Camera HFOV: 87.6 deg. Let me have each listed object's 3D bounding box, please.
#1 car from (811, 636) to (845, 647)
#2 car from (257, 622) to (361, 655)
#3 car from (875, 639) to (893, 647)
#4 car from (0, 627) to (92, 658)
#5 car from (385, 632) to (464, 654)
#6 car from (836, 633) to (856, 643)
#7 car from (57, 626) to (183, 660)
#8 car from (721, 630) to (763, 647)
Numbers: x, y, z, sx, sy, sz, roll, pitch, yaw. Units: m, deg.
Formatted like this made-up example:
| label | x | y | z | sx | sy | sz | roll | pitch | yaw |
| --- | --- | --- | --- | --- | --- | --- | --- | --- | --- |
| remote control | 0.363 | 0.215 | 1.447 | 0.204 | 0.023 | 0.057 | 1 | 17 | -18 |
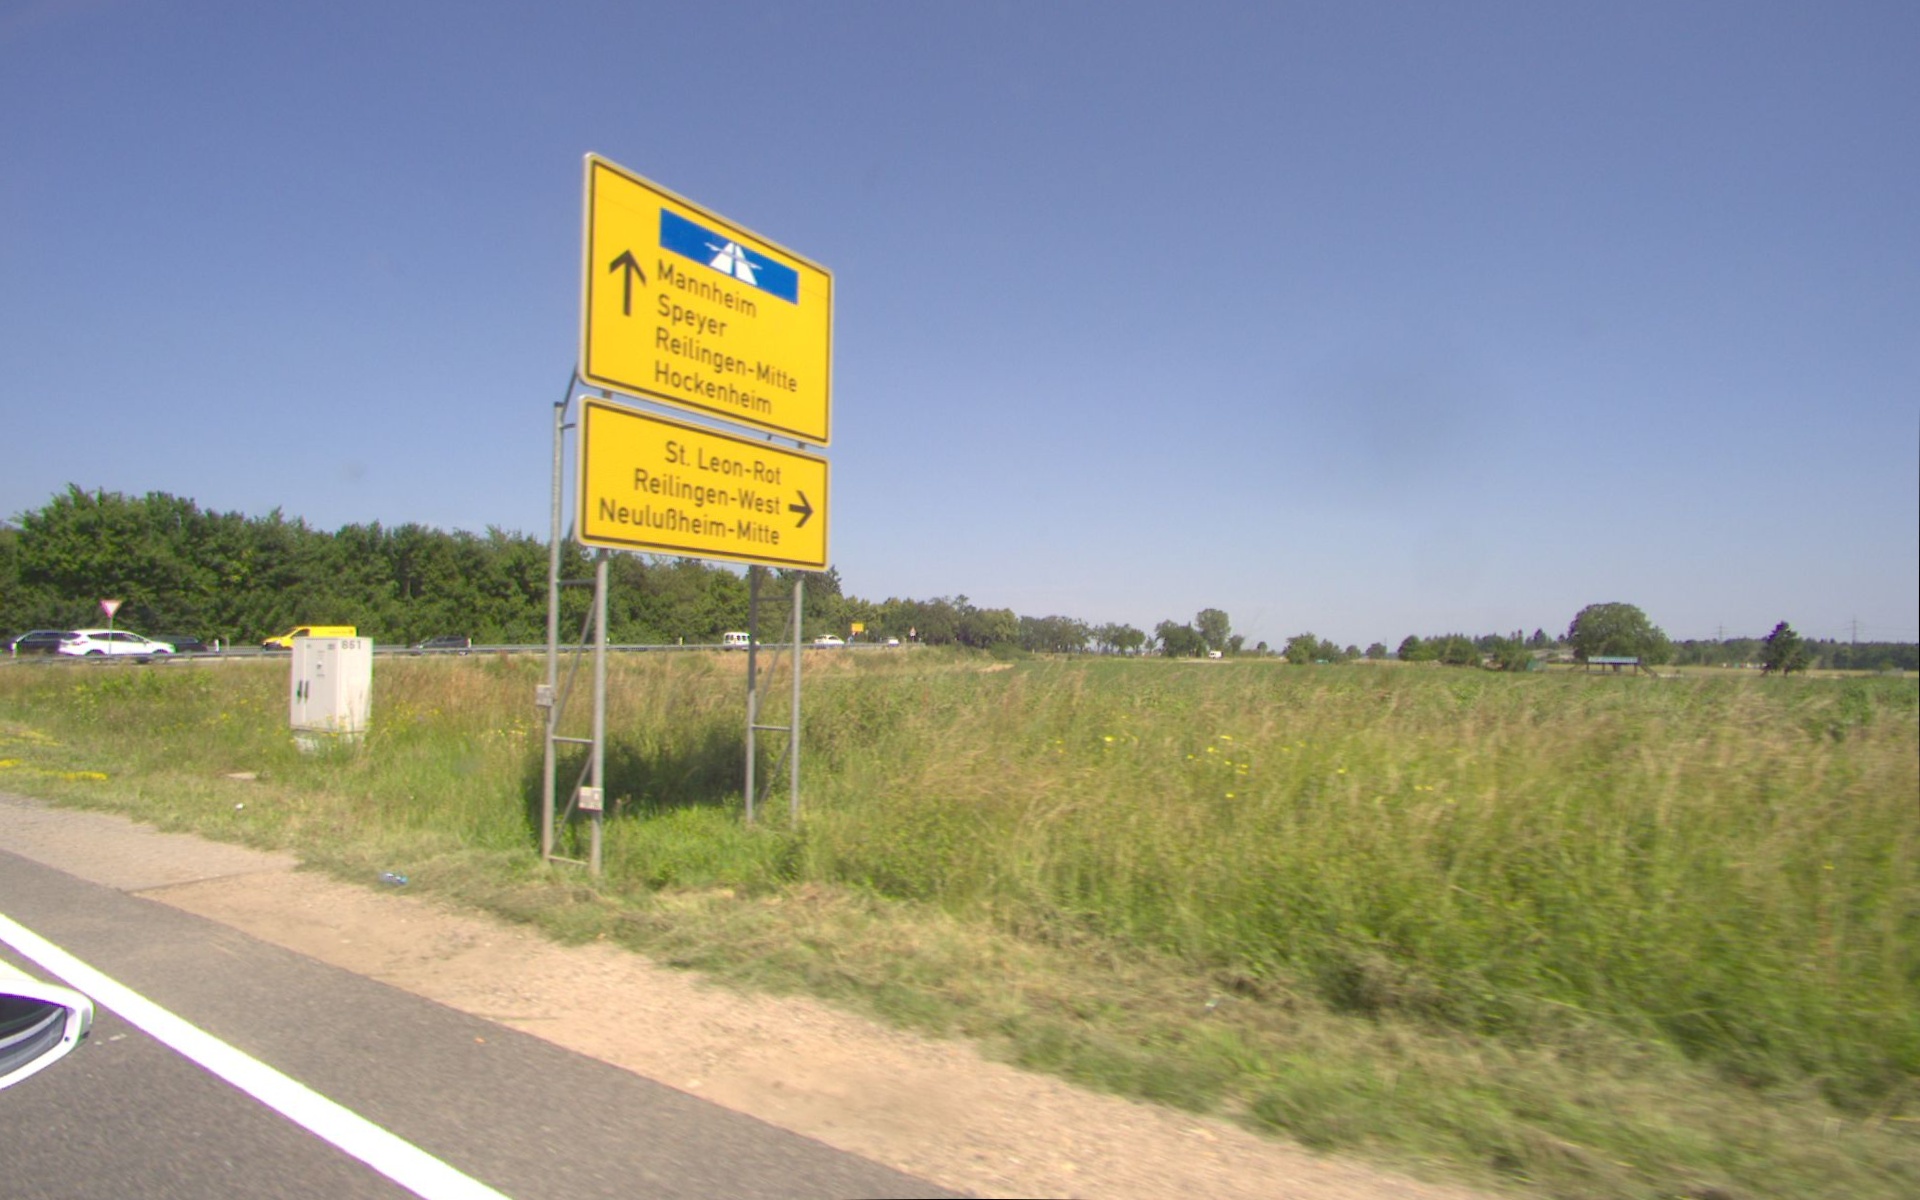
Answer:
| label | x | y | z | sx | sy | sz | roll | pitch | yaw |
| --- | --- | --- | --- | --- | --- | --- | --- | --- | --- |
| car | -14.249 | 4.471 | 108.067 | 1.690 | 1.204 | 3.988 | -1 | -3 | 26 |
| car | -41.923 | 2.468 | 64.598 | 1.973 | 2.039 | 5.312 | -1 | -3 | 33 |
| car | -11.006 | 6.182 | 144.706 | 1.688 | 1.204 | 3.992 | 1 | -2 | -20 |
| car | -49.486 | 2.255 | 53.466 | 1.744 | 1.618 | 4.475 | -1 | -3 | 35 |
| car | -37.925 | 3.041 | 71.003 | 1.828 | 1.533 | 4.671 | -1 | -3 | 34 |
| car | -17.842 | 5.954 | 156.489 | 1.823 | 1.533 | 4.684 | 1 | -2 | -24 |
| car | -41.518 | 2.124 | 49.605 | 1.712 | 1.586 | 4.467 | -1 | -3 | 28 |
| car | -20.632 | 3.648 | 95.062 | 1.691 | 1.589 | 3.984 | -1 | -2 | 29 |
